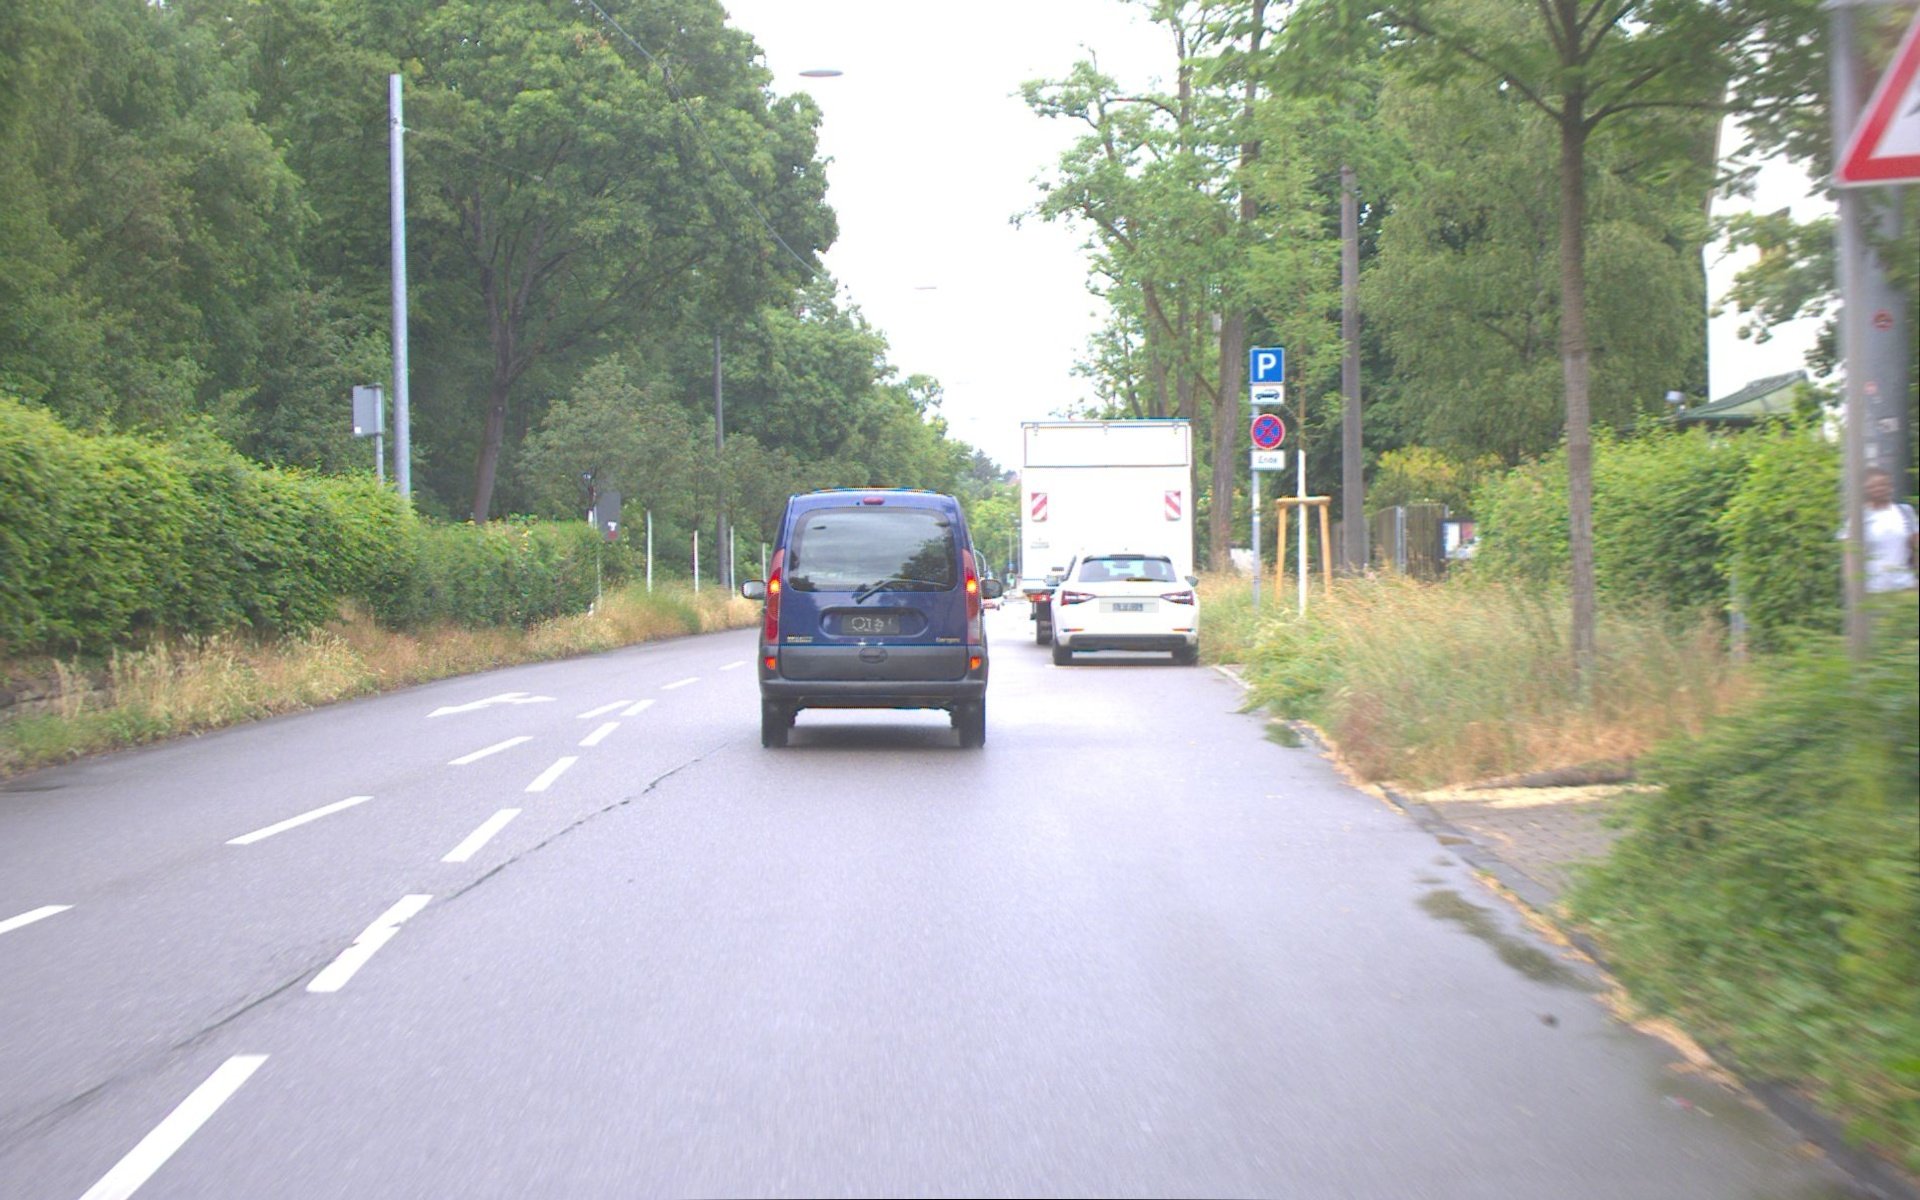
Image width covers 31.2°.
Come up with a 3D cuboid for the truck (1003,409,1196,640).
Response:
[{"bbox_3d":[2.115,-1.173,54.548,2.731,3.375,6.685,-1,1,0],"label":"truck"}]

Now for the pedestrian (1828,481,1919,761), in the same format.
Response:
[{"bbox_3d":[5.657,0.126,21.166,0.562,1.702,0.516,-1,1,10],"label":"pedestrian"}]

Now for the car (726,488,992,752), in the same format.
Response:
[{"bbox_3d":[-0.821,0.108,25.758,1.808,1.791,4.001,-1,1,-4],"label":"car"}]

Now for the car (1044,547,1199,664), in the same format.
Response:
[{"bbox_3d":[2.009,0.036,43.765,1.813,1.376,4.285,-1,1,1],"label":"car"}]
